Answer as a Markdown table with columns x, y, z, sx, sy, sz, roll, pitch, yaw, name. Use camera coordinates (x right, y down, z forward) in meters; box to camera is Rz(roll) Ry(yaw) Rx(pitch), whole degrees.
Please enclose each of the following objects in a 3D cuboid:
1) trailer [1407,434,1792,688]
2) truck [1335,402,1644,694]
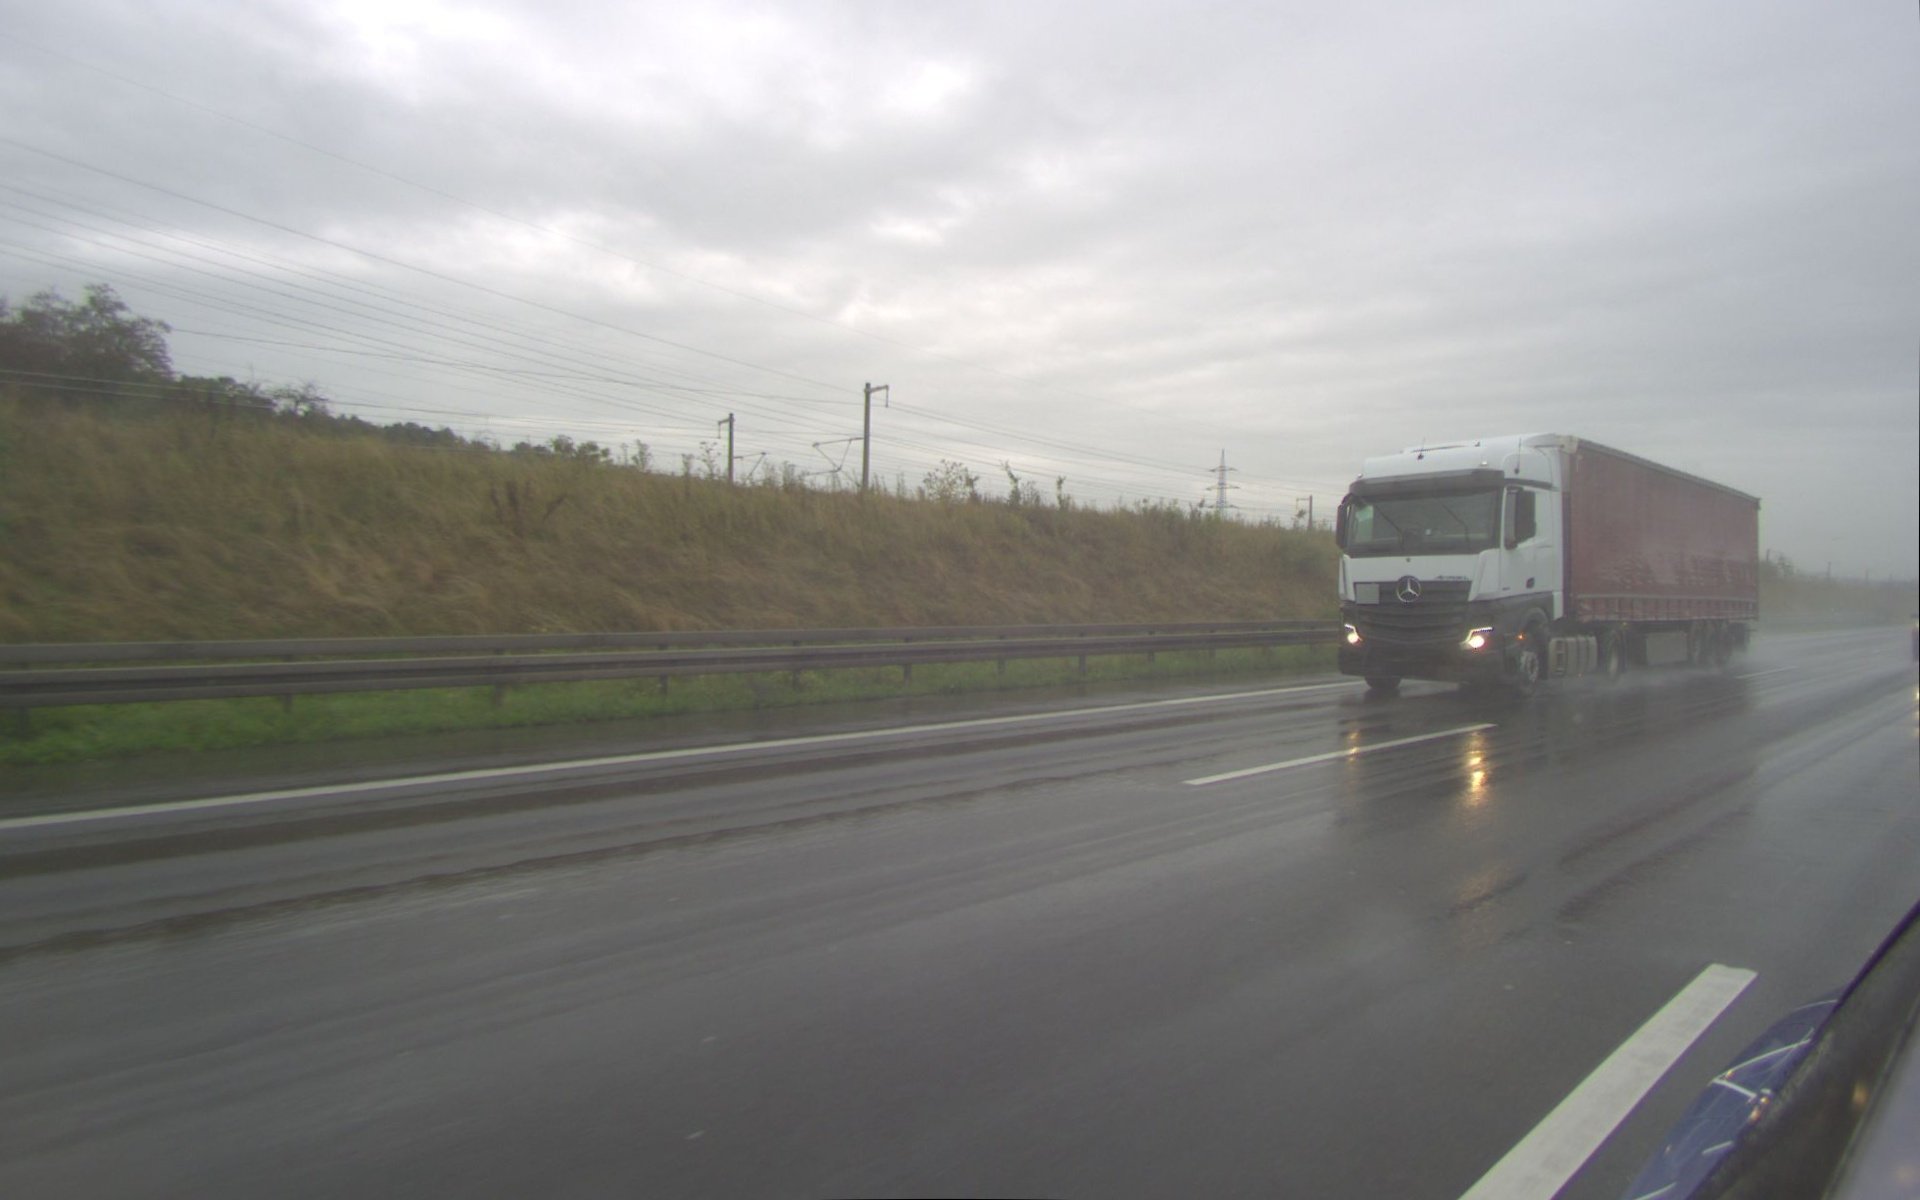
| x | y | z | sx | sy | sz | roll | pitch | yaw | name |
| --- | --- | --- | --- | --- | --- | --- | --- | --- | --- |
| 14.430 | -0.598 | 21.516 | 16.257 | 3.813 | 2.484 | 0 | 0 | -42 | trailer |
| 8.836 | -0.709 | 16.584 | 6.090 | 3.938 | 2.455 | 0 | 0 | -41 | truck |
